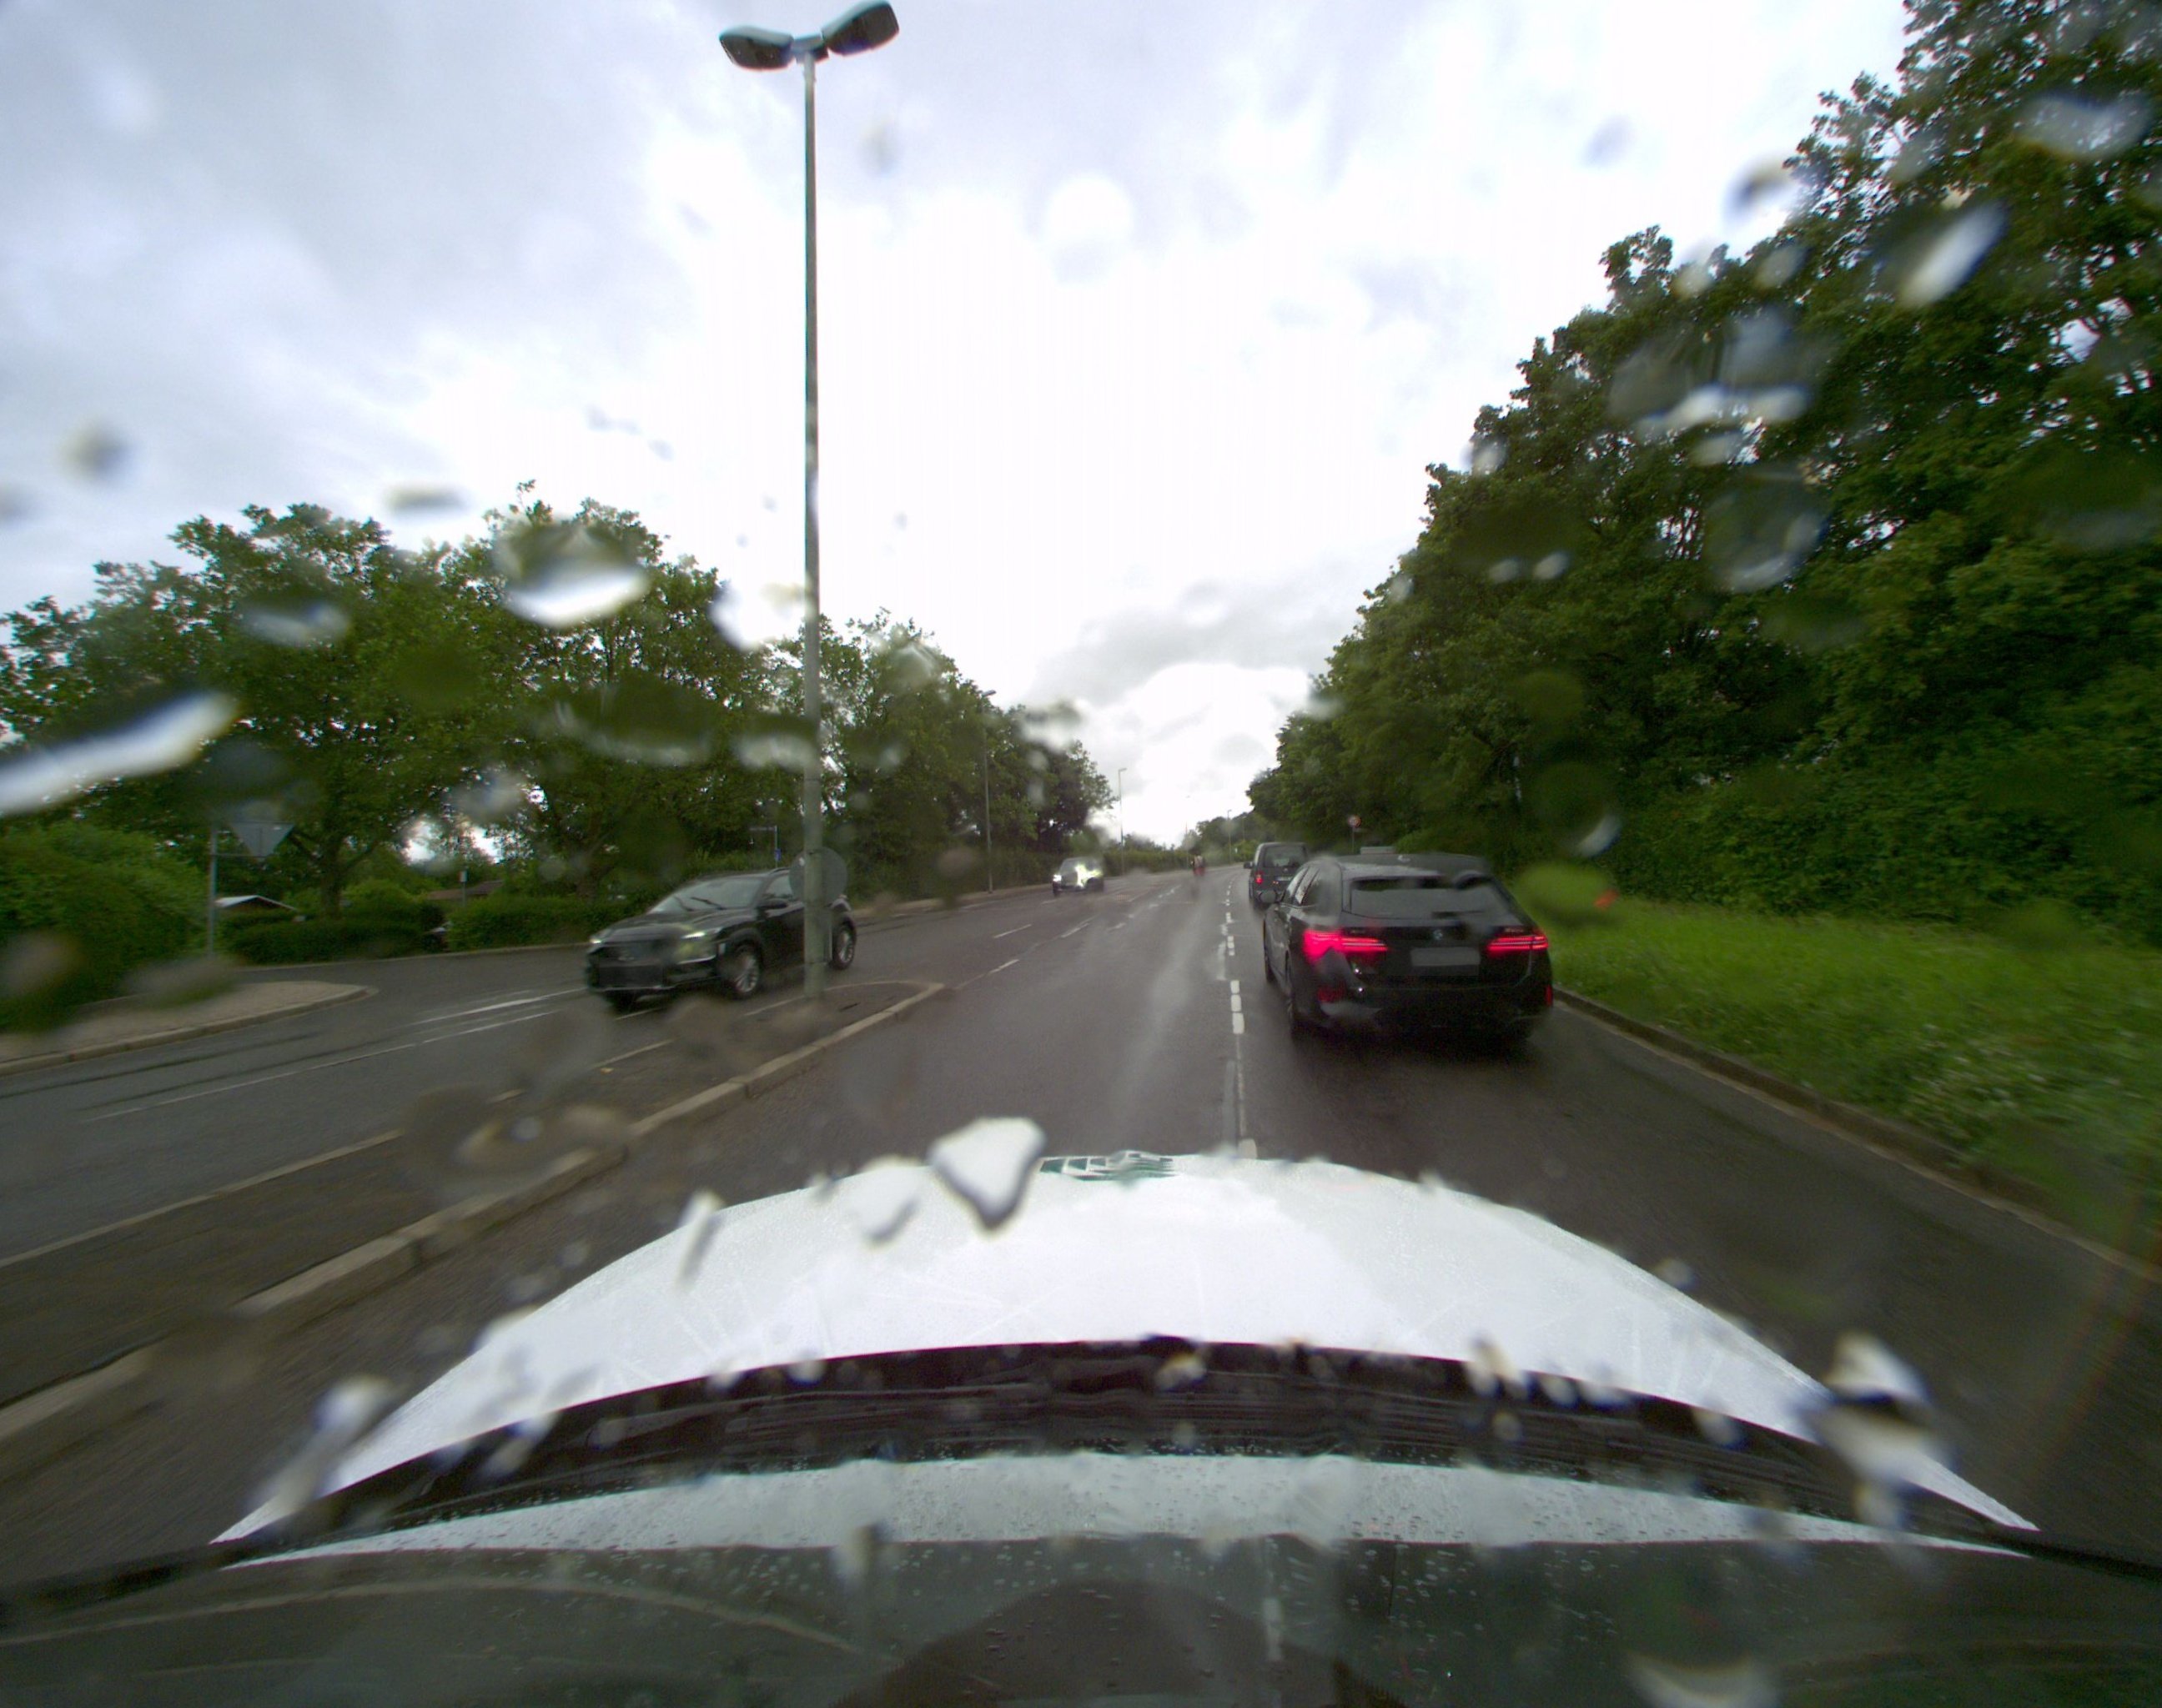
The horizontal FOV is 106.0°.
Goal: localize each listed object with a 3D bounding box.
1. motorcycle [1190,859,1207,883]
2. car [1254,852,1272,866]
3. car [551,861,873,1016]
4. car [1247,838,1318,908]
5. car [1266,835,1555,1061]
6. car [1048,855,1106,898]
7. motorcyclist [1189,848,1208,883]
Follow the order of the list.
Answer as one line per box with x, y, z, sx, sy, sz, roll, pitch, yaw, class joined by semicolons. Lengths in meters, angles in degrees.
5.715;0.820;39.462;0.736;1.119;1.431;-1;1;11;motorcycle
20.770;0.556;92.800;2.001;1.415;4.503;-2;1;13;car
-4.622;0.971;10.968;2.013;1.563;3.888;-4;0;10;car
5.768;0.478;23.652;1.755;1.810;3.918;-2;1;11;car
2.681;0.658;7.491;1.753;1.536;3.684;-2;0;11;car
-0.102;0.915;34.824;1.784;1.603;3.741;-4;0;9;car
5.682;0.548;39.360;0.840;1.647;0.469;-2;0;10;motorcyclist
